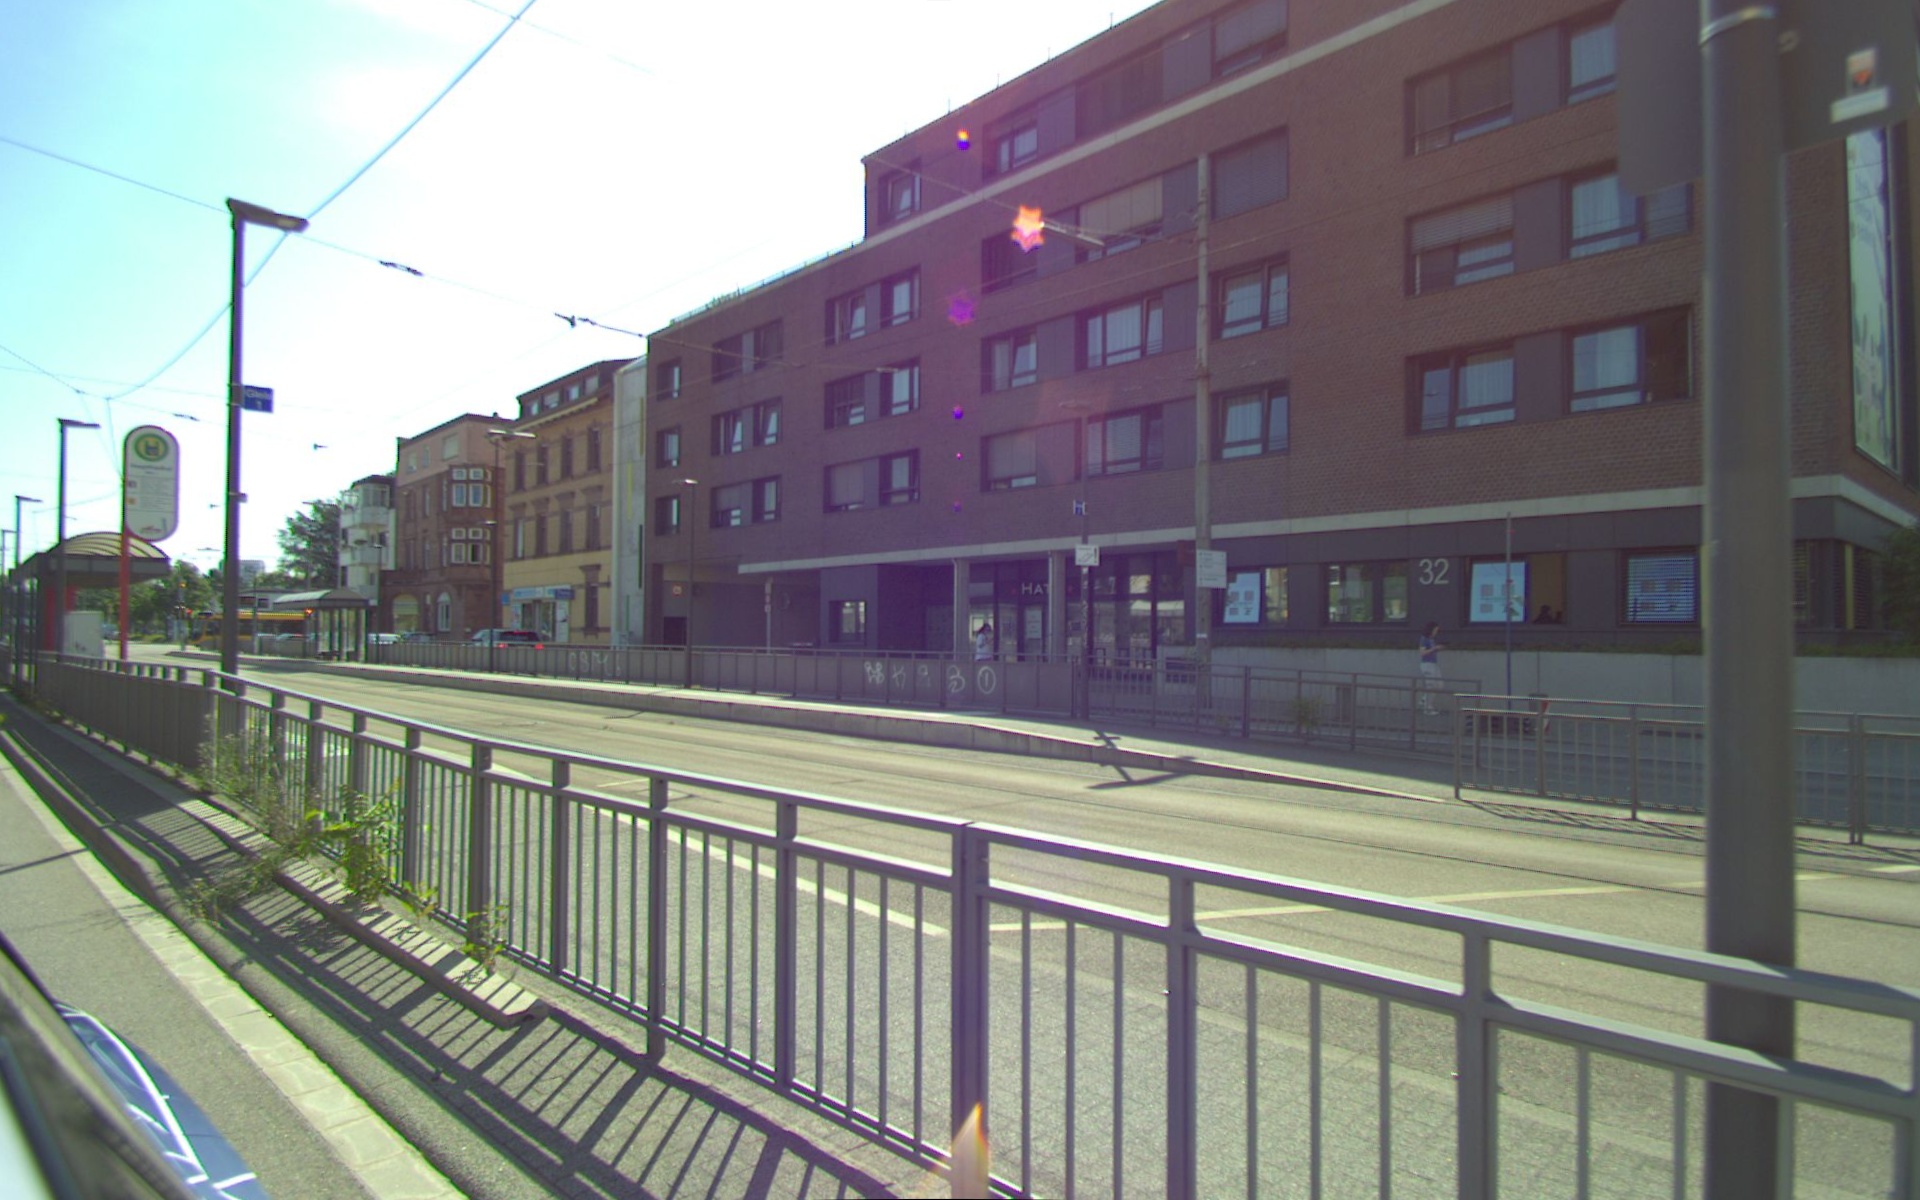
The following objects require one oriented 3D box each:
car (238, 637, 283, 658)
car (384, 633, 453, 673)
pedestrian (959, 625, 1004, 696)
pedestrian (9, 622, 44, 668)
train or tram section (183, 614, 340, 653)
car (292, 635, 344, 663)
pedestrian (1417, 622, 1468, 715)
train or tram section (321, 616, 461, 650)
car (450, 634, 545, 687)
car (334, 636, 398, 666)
[{"bbox_3d":[-45.735,3.067,66.176,4.081,1.253,1.692,-2,-1,45],"label":"car"},{"bbox_3d":[-23.522,2.266,43.910,1.692,1.635,3.581,0,-2,-45],"label":"car"},{"bbox_3d":[0.571,1.587,26.741,0.835,1.833,0.839,2,-3,-45],"label":"pedestrian"},{"bbox_3d":[-39.058,1.882,42.332,0.969,1.873,1.238,2,-3,-45],"label":"pedestrian"},{"bbox_3d":[-67.224,3.228,98.061,2.670,3.507,13.241,-1,-2,21],"label":"train or tram section"},{"bbox_3d":[-35.073,2.666,55.230,1.607,1.480,3.867,1,-3,-45],"label":"car"},{"bbox_3d":[8.955,1.257,18.792,0.700,1.677,0.574,-2,-3,43],"label":"pedestrian"},{"bbox_3d":[-60.962,3.574,108.958,2.685,3.507,13.163,-2,-2,39],"label":"train or tram section"},{"bbox_3d":[-16.846,2.147,36.780,1.780,1.742,4.191,0,-1,-45],"label":"car"},{"bbox_3d":[-29.441,2.494,50.110,4.523,1.374,1.613,-2,-3,44],"label":"car"}]
